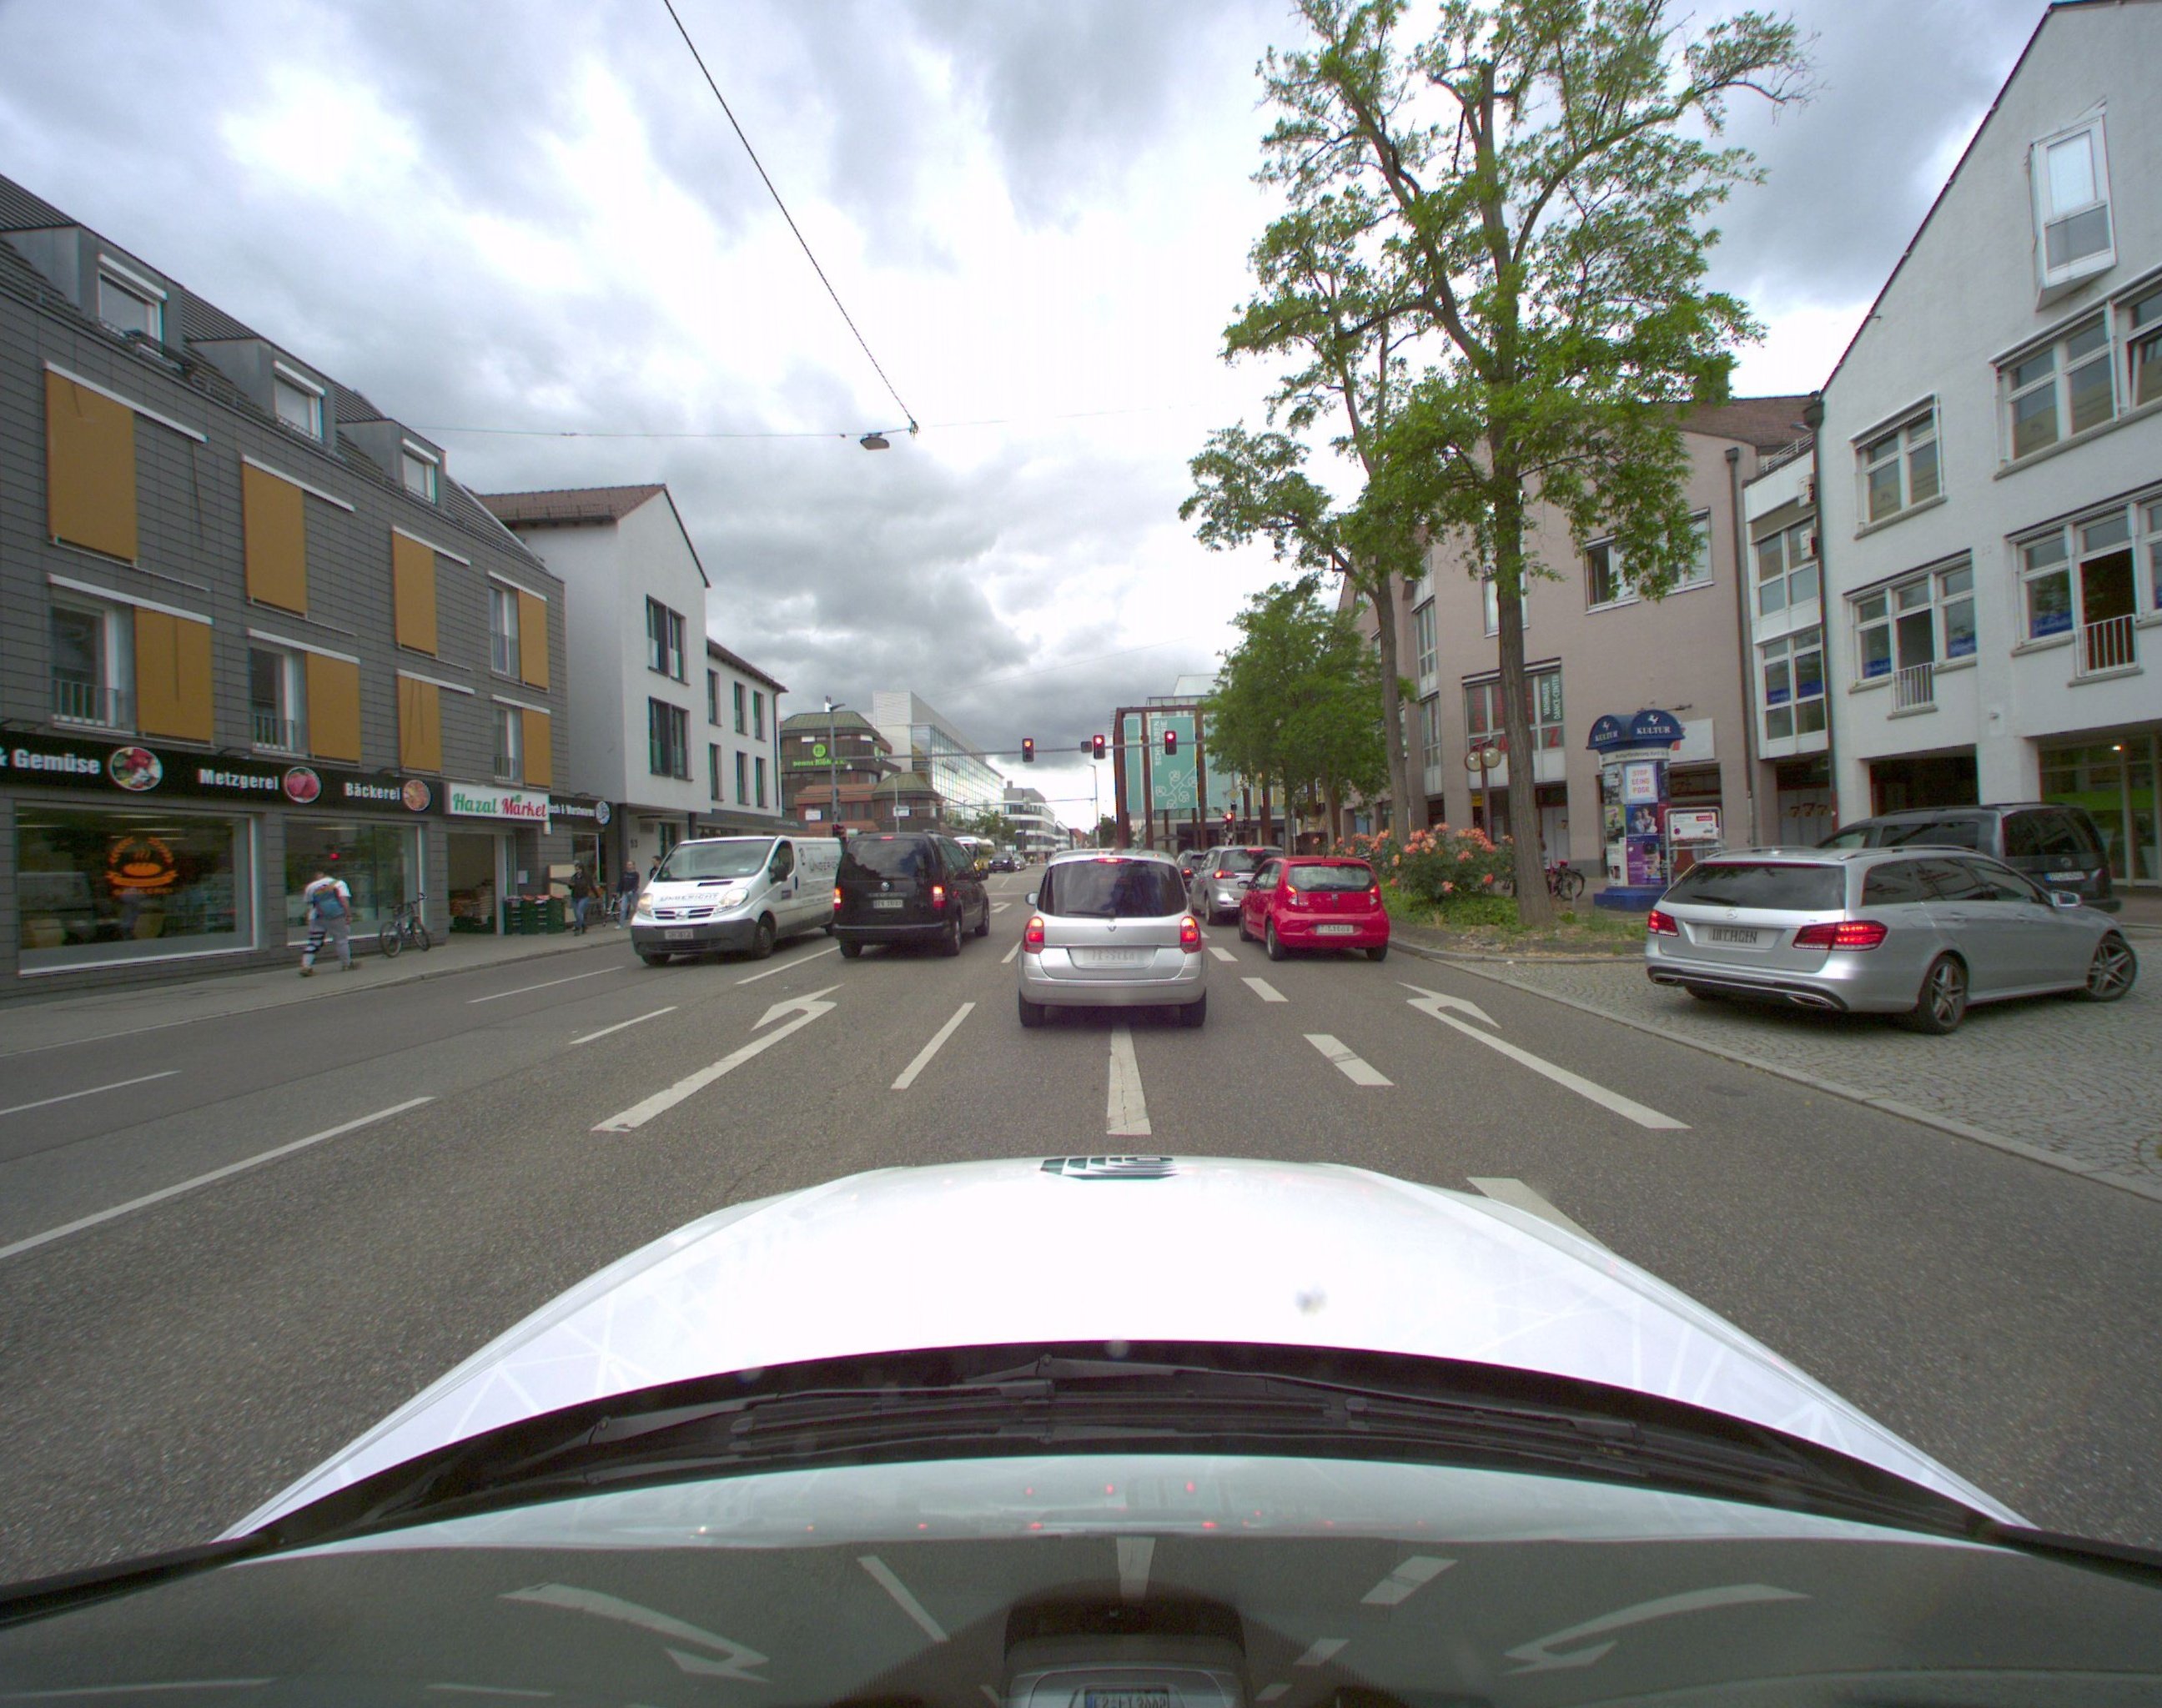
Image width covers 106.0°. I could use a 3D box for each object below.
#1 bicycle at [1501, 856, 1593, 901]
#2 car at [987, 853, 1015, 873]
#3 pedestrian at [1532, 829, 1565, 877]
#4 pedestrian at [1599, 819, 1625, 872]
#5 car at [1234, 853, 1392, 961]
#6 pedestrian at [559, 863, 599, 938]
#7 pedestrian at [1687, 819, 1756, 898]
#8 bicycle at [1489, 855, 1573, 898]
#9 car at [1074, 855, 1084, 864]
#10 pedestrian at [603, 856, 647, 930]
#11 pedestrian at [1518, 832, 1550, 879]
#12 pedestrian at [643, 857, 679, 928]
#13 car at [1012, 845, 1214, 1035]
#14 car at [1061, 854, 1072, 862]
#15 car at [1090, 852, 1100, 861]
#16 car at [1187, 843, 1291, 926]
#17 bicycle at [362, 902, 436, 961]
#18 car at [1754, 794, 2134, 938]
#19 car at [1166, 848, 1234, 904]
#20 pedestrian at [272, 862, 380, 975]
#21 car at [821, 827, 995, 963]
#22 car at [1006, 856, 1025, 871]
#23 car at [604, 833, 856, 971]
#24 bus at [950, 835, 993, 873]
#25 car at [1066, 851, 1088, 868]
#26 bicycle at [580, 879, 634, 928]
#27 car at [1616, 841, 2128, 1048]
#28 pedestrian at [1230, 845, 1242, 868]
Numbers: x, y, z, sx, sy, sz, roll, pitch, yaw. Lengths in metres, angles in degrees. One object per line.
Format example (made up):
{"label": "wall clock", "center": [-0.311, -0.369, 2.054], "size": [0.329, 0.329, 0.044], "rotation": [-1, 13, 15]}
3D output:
{"label": "bicycle", "center": [11.281, 0.591, 19.734], "size": [1.892, 0.997, 0.468], "rotation": [-2, 0, 5]}
{"label": "car", "center": [-7.126, 0.751, 72.685], "size": [1.987, 1.706, 4.065], "rotation": [-2, 0, 0]}
{"label": "pedestrian", "center": [15.533, -0.045, 27.071], "size": [0.665, 1.563, 0.618], "rotation": [-2, 0, -20]}
{"label": "pedestrian", "center": [17.219, -0.262, 26.422], "size": [0.630, 1.677, 0.592], "rotation": [-2, 0, 30]}
{"label": "car", "center": [3.433, 0.710, 12.617], "size": [1.580, 1.443, 3.350], "rotation": [0, 0, 2]}
{"label": "pedestrian", "center": [-11.527, 1.050, 18.722], "size": [0.654, 1.650, 0.555], "rotation": [-2, 0, -22]}
{"label": "pedestrian", "center": [14.260, 0.101, 18.151], "size": [0.786, 1.659, 0.819], "rotation": [-4, 0, 1]}
{"label": "bicycle", "center": [11.198, 0.559, 20.291], "size": [1.760, 0.997, 0.447], "rotation": [-2, 0, 5]}
{"label": "car", "center": [-0.389, 1.074, 157.562], "size": [1.793, 1.540, 4.068], "rotation": [-2, 0, 3]}
{"label": "pedestrian", "center": [-11.410, 0.956, 20.412], "size": [0.680, 1.790, 0.648], "rotation": [-2, 0, -1]}
{"label": "pedestrian", "center": [14.926, 0.044, 26.846], "size": [0.611, 1.515, 0.618], "rotation": [-2, 0, -20]}
{"label": "pedestrian", "center": [-10.708, 0.971, 20.781], "size": [0.567, 1.775, 0.646], "rotation": [-2, 0, -4]}
{"label": "car", "center": [0.310, 0.699, 8.358], "size": [1.634, 1.527, 3.395], "rotation": [-1, 0, 1]}
{"label": "car", "center": [-2.749, 0.792, 157.230], "size": [1.793, 1.540, 4.068], "rotation": [-2, 0, 3]}
{"label": "car", "center": [3.065, 0.505, 175.430], "size": [1.987, 1.949, 4.951], "rotation": [-2, 0, 1]}
{"label": "car", "center": [3.380, 0.599, 18.070], "size": [1.581, 1.634, 3.916], "rotation": [0, 0, 0]}
{"label": "bicycle", "center": [-12.658, 1.407, 15.156], "size": [0.325, 0.954, 1.478], "rotation": [-2, 0, -9]}
{"label": "car", "center": [13.105, 0.148, 12.791], "size": [1.633, 1.831, 3.963], "rotation": [-3, 0, -3]}
{"label": "car", "center": [3.608, 0.617, 25.244], "size": [1.581, 1.595, 3.868], "rotation": [0, 0, 0]}
{"label": "pedestrian", "center": [-11.924, 0.989, 12.904], "size": [0.751, 1.705, 0.981], "rotation": [1, 0, 1]}
{"label": "car", "center": [-2.638, 0.561, 13.551], "size": [1.738, 1.855, 4.636], "rotation": [-1, 0, 2]}
{"label": "car", "center": [-6.440, 0.895, 80.253], "size": [1.550, 1.392, 3.288], "rotation": [-2, 0, 0]}
{"label": "car", "center": [-5.774, 0.679, 14.311], "size": [1.986, 1.888, 5.160], "rotation": [-3, 0, 1]}
{"label": "bus", "center": [-10.053, 0.004, 75.503], "size": [2.678, 3.261, 8.653], "rotation": [-2, 0, 1]}
{"label": "car", "center": [-0.405, 0.583, 89.532], "size": [1.907, 1.677, 4.249], "rotation": [-2, 0, 6]}
{"label": "bicycle", "center": [-12.790, 1.305, 22.018], "size": [0.385, 1.186, 1.825], "rotation": [-2, 0, -1]}
{"label": "car", "center": [7.383, 0.643, 7.611], "size": [4.372, 1.448, 1.808], "rotation": [-1, 1, -22]}
{"label": "pedestrian", "center": [11.519, 0.198, 60.400], "size": [0.652, 1.650, 0.557], "rotation": [-2, 0, -13]}
